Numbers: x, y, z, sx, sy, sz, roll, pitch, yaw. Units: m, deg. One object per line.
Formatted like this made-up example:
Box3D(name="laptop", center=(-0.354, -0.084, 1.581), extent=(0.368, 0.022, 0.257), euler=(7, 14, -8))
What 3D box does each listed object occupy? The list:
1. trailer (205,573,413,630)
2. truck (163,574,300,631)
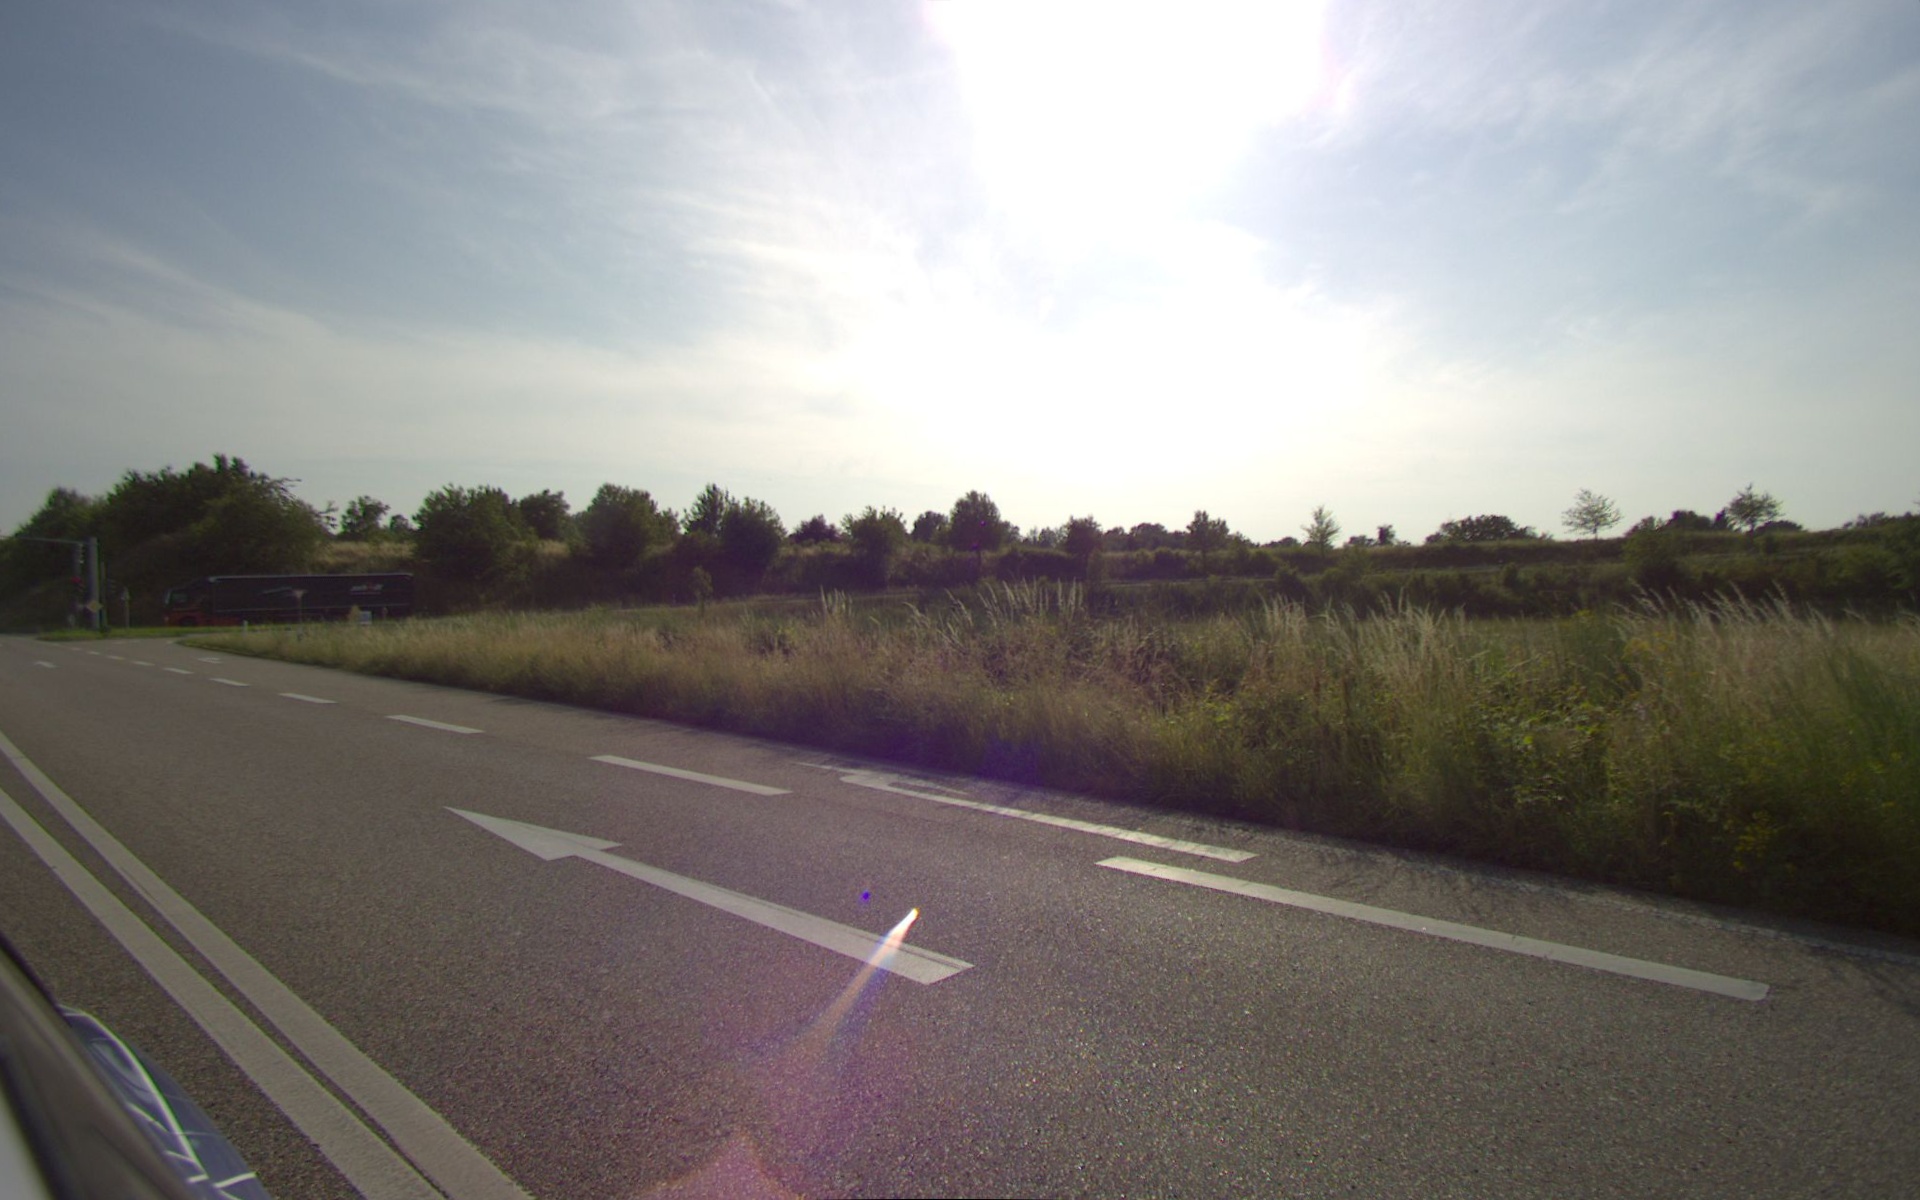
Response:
Box3D(name="trailer", center=(-51.530, 0.013, 80.524), extent=(13.580, 4.144, 3.566), euler=(-1, 1, -39))
Box3D(name="truck", center=(-55.560, 0.118, 77.289), extent=(8.267, 4.144, 3.566), euler=(-1, 1, -39))
